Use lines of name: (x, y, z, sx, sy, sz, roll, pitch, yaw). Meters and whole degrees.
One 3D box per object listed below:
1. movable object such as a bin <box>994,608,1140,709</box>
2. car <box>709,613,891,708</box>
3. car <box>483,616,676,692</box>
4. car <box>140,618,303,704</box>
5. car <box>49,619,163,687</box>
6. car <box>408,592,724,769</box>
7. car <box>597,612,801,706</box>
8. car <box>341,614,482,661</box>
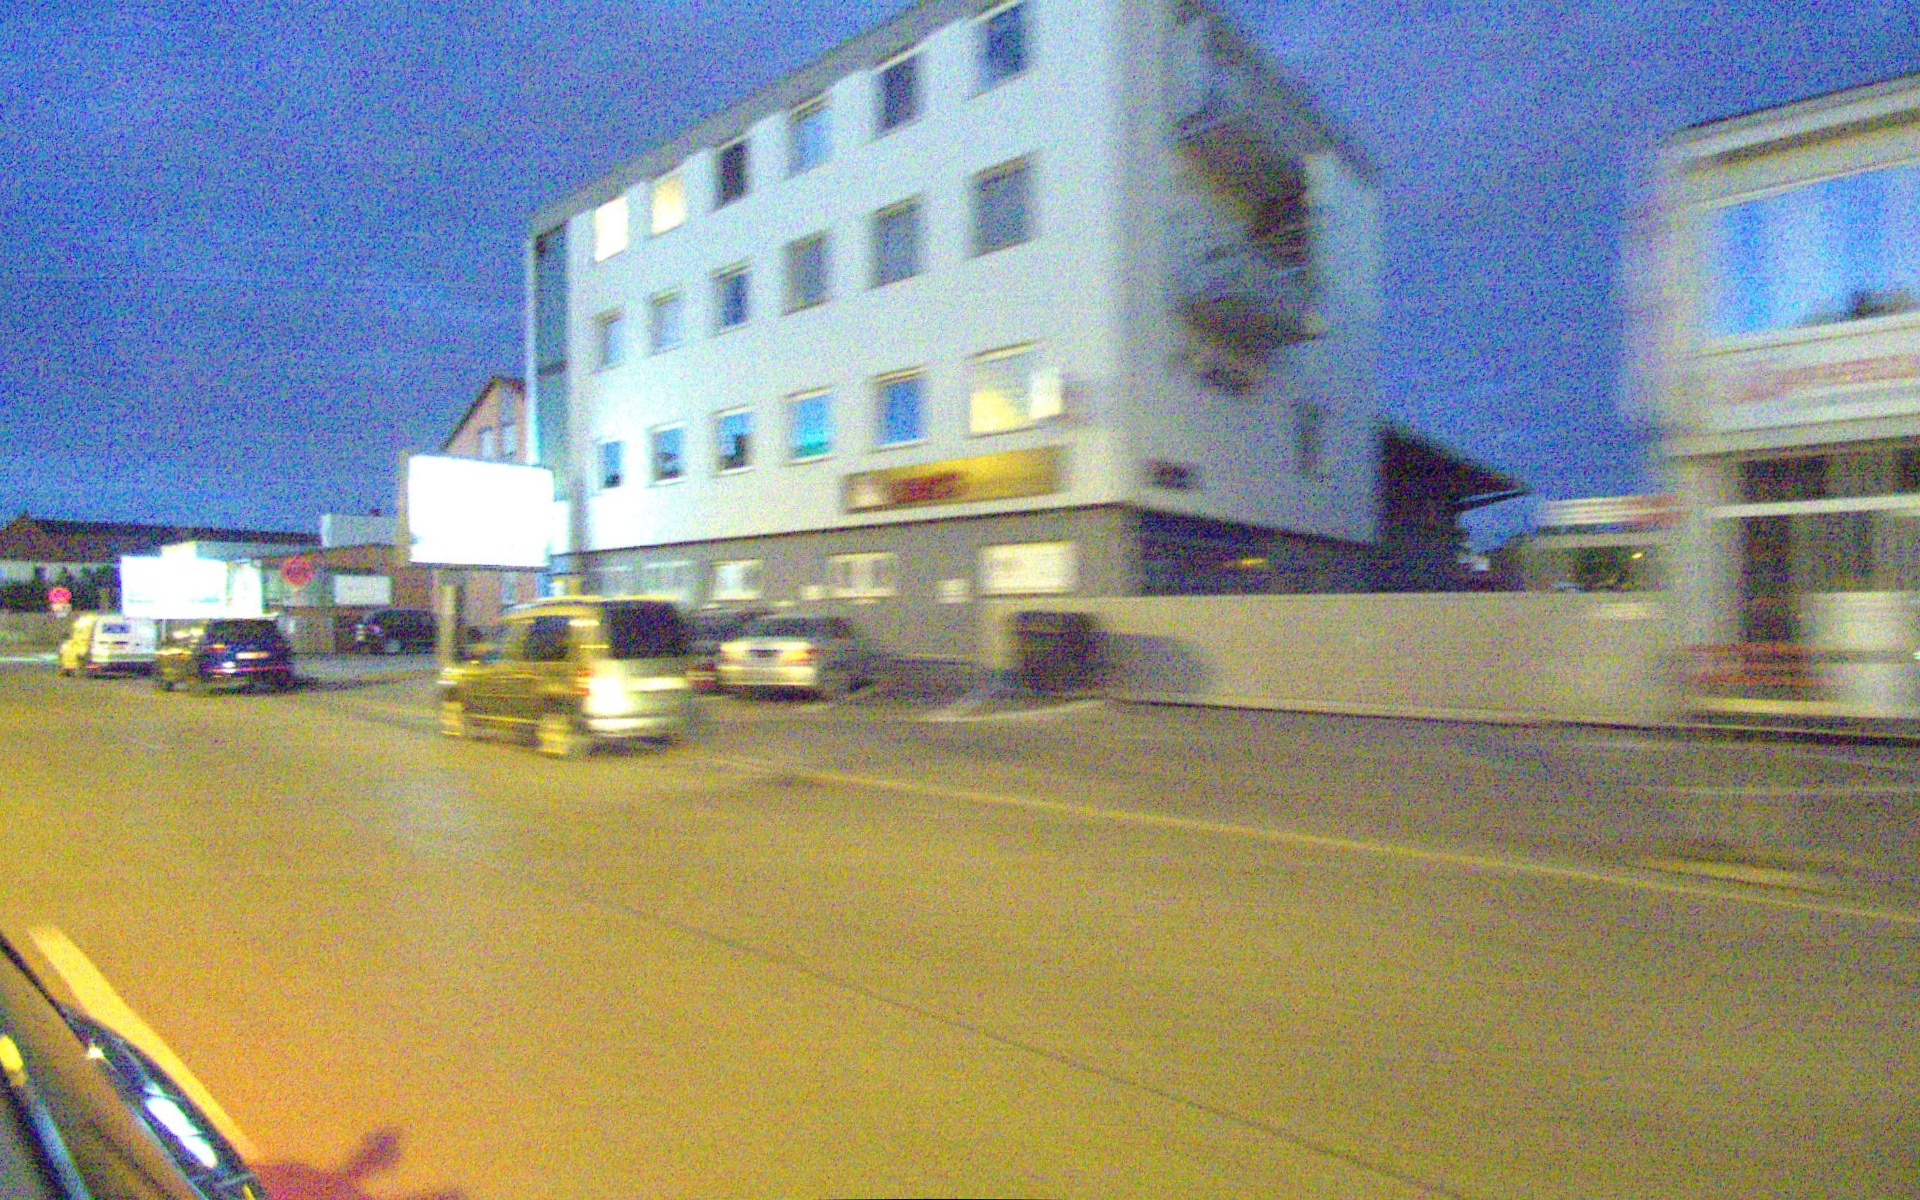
movable object such as a bin: (1.746, 0.903, 16.445, 1.608, 1.511, 1.838, -1, -1, 41)
car: (-2.628, 0.963, 17.775, 1.774, 1.451, 4.399, 0, -1, 11)
car: (-8.581, 1.156, 23.292, 1.982, 1.572, 4.392, 0, -1, 16)
car: (-16.477, 1.281, 22.487, 4.814, 1.701, 1.926, -2, -2, 42)
car: (-24.788, 1.484, 29.320, 4.875, 1.812, 1.785, -2, -2, 41)
car: (-5.081, 0.886, 12.777, 4.410, 1.863, 1.795, -1, -1, 39)
car: (-4.793, 1.029, 19.387, 1.979, 1.563, 4.655, 0, -1, 11)
car: (-20.885, 1.400, 38.666, 1.922, 1.666, 4.352, -2, -2, 43)
